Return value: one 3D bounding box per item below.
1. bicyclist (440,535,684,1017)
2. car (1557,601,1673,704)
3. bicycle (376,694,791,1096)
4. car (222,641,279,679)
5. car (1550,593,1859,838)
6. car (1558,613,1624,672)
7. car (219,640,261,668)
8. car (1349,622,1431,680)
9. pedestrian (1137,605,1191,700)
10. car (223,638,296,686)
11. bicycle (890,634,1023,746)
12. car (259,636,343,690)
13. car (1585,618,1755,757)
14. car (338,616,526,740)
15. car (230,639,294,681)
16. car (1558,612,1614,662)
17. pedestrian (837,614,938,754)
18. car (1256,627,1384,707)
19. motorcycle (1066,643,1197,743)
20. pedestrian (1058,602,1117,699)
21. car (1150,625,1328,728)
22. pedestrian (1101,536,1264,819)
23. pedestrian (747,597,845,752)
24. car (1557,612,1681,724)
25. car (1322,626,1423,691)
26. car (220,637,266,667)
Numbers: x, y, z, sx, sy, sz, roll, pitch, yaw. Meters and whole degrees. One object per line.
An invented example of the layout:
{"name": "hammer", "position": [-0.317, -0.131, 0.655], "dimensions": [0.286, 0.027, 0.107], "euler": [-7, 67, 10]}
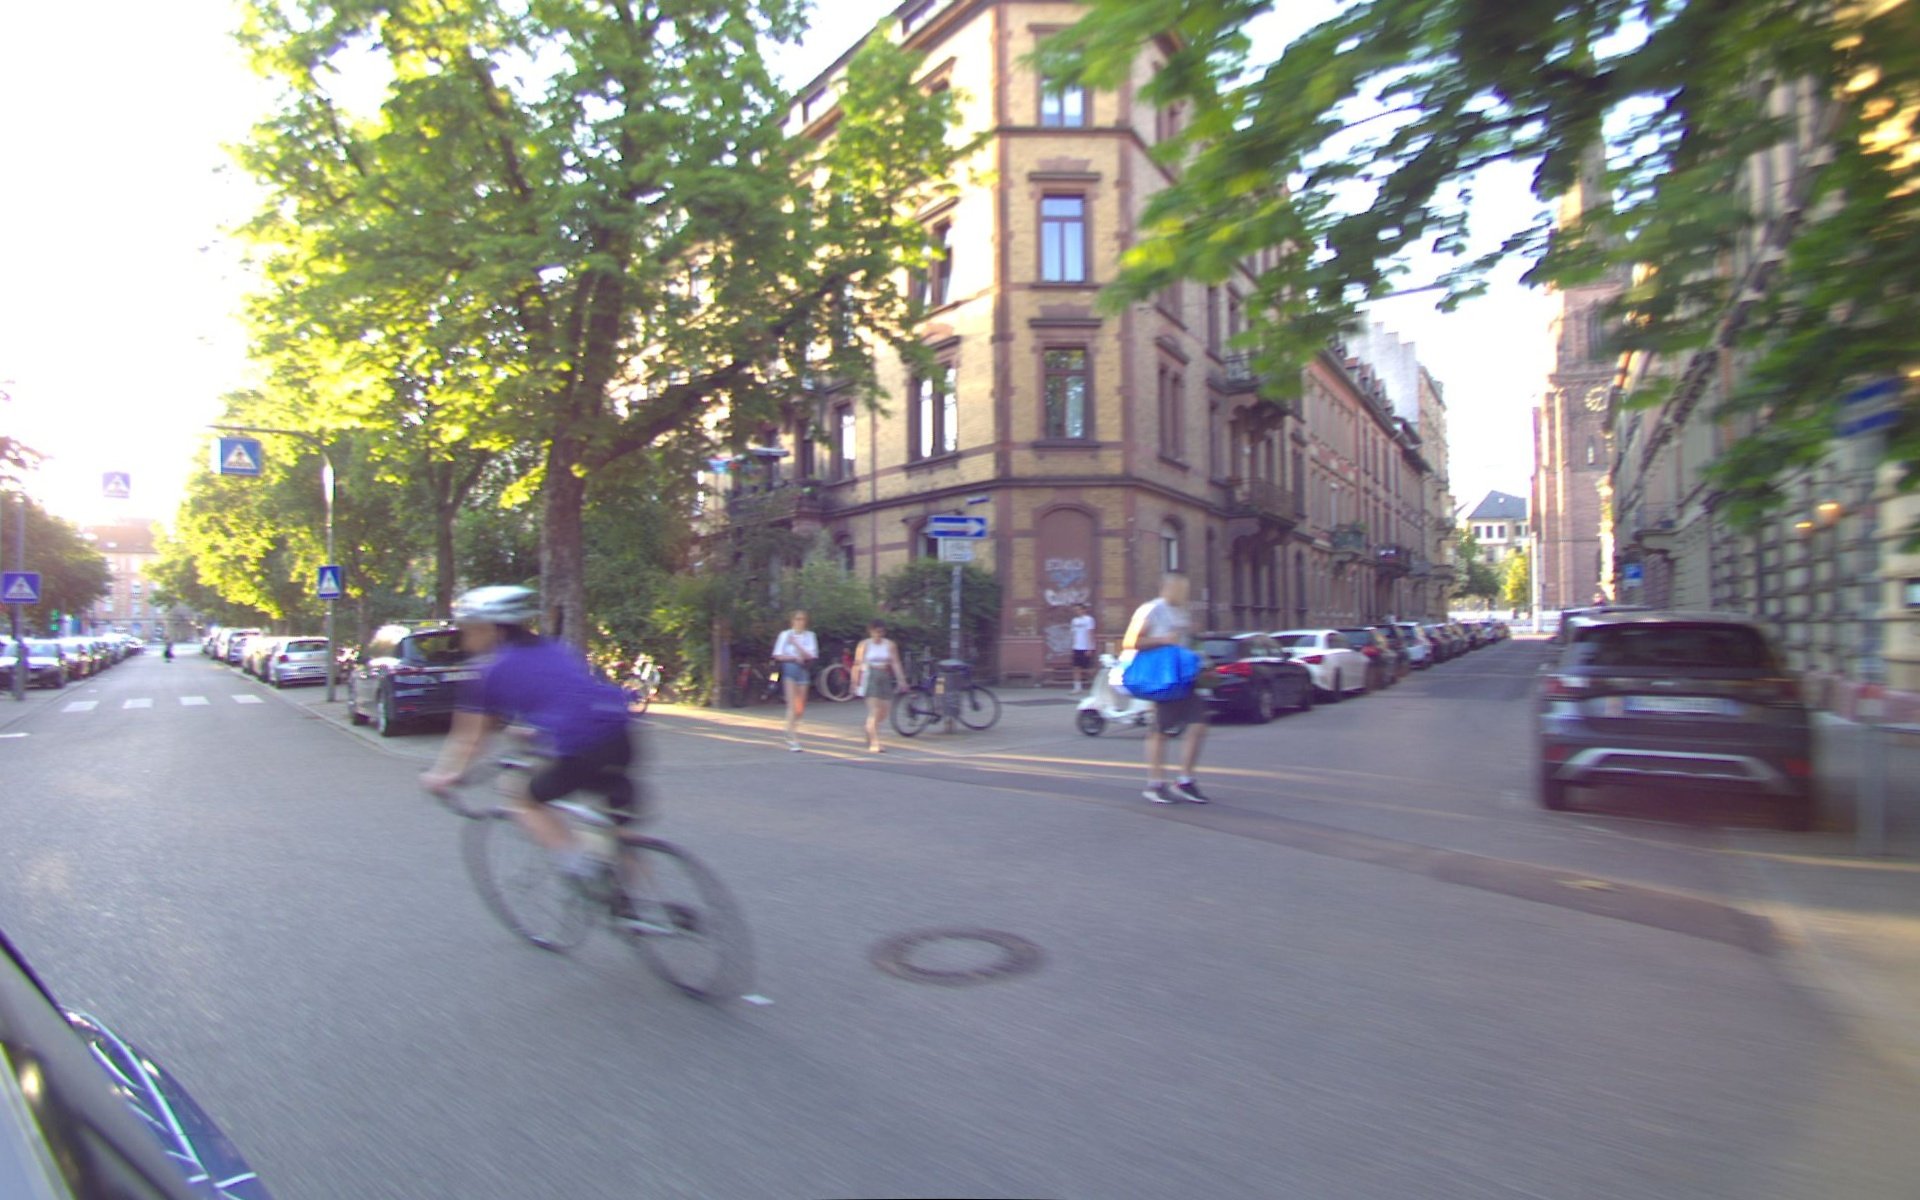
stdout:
{"name": "bicyclist", "position": [-1.508, 0.602, 3.814], "dimensions": [0.822, 1.589, 0.503], "euler": [-4, -4, 38]}
{"name": "car", "position": [12.768, 1.020, 19.875], "dimensions": [1.682, 1.837, 3.451], "euler": [-3, -3, 31]}
{"name": "bicycle", "position": [-1.480, 0.938, 3.775], "dimensions": [1.904, 1.041, 0.532], "euler": [0, -1, 38]}
{"name": "car", "position": [-29.776, 2.478, 42.411], "dimensions": [1.592, 1.452, 4.111], "euler": [-1, -2, -40]}
{"name": "car", "position": [6.015, 0.825, 8.508], "dimensions": [1.628, 1.557, 3.815], "euler": [-3, -3, 32]}
{"name": "car", "position": [20.925, 1.419, 33.628], "dimensions": [1.682, 1.837, 3.451], "euler": [-3, -3, 31]}
{"name": "car", "position": [-40.405, 3.031, 56.783], "dimensions": [1.592, 1.452, 4.111], "euler": [-1, -2, -40]}
{"name": "car", "position": [12.651, 1.474, 29.643], "dimensions": [1.574, 1.584, 4.075], "euler": [-3, -3, 31]}
{"name": "pedestrian", "position": [4.070, 1.023, 20.228], "dimensions": [0.780, 1.837, 0.689], "euler": [0, 2, -36]}
{"name": "car", "position": [-23.629, 2.066, 34.069], "dimensions": [1.592, 1.452, 4.317], "euler": [-1, -2, -40]}
{"name": "bicycle", "position": [-0.037, 1.189, 13.749], "dimensions": [1.769, 1.403, 0.520], "euler": [0, -1, -28]}
{"name": "car", "position": [-20.055, 1.888, 30.734], "dimensions": [1.593, 1.452, 3.759], "euler": [-2, -1, -41]}
{"name": "car", "position": [8.705, 0.994, 12.630], "dimensions": [1.462, 1.470, 3.297], "euler": [-3, -2, 32]}
{"name": "car", "position": [-8.751, 1.188, 16.551], "dimensions": [1.842, 1.700, 4.600], "euler": [-1, -2, -39]}
{"name": "car", "position": [-26.717, 2.281, 38.676], "dimensions": [1.592, 1.452, 4.317], "euler": [-1, -2, -40]}
{"name": "car", "position": [24.277, 1.456, 39.307], "dimensions": [1.682, 1.837, 3.451], "euler": [-3, -3, 31]}
{"name": "pedestrian", "position": [-0.885, 1.006, 12.448], "dimensions": [1.047, 1.643, 0.681], "euler": [-1, -2, 26]}
{"name": "car", "position": [7.457, 1.319, 20.712], "dimensions": [1.574, 1.470, 4.377], "euler": [-3, -3, 31]}
{"name": "motorcycle", "position": [2.294, 1.235, 13.739], "dimensions": [0.465, 1.266, 1.864], "euler": [1, -4, -40]}
{"name": "pedestrian", "position": [2.544, 0.972, 20.158], "dimensions": [0.780, 1.837, 0.912], "euler": [2, 2, 41]}
{"name": "car", "position": [4.707, 1.197, 16.689], "dimensions": [1.781, 1.470, 3.975], "euler": [-3, -3, 31]}
{"name": "pedestrian", "position": [1.745, 0.574, 7.907], "dimensions": [1.006, 2.029, 0.859], "euler": [-2, -3, 32]}
{"name": "pedestrian", "position": [-2.043, 0.911, 12.628], "dimensions": [1.004, 1.849, 0.681], "euler": [-1, -2, 26]}
{"name": "car", "position": [10.640, 1.057, 16.396], "dimensions": [1.463, 1.606, 3.296], "euler": [-3, -3, 33]}
{"name": "car", "position": [10.258, 1.408, 24.989], "dimensions": [1.574, 1.470, 4.377], "euler": [-3, -3, 31]}
{"name": "car", "position": [-37.636, 2.715, 53.071], "dimensions": [1.592, 1.452, 4.111], "euler": [-1, -2, -40]}
